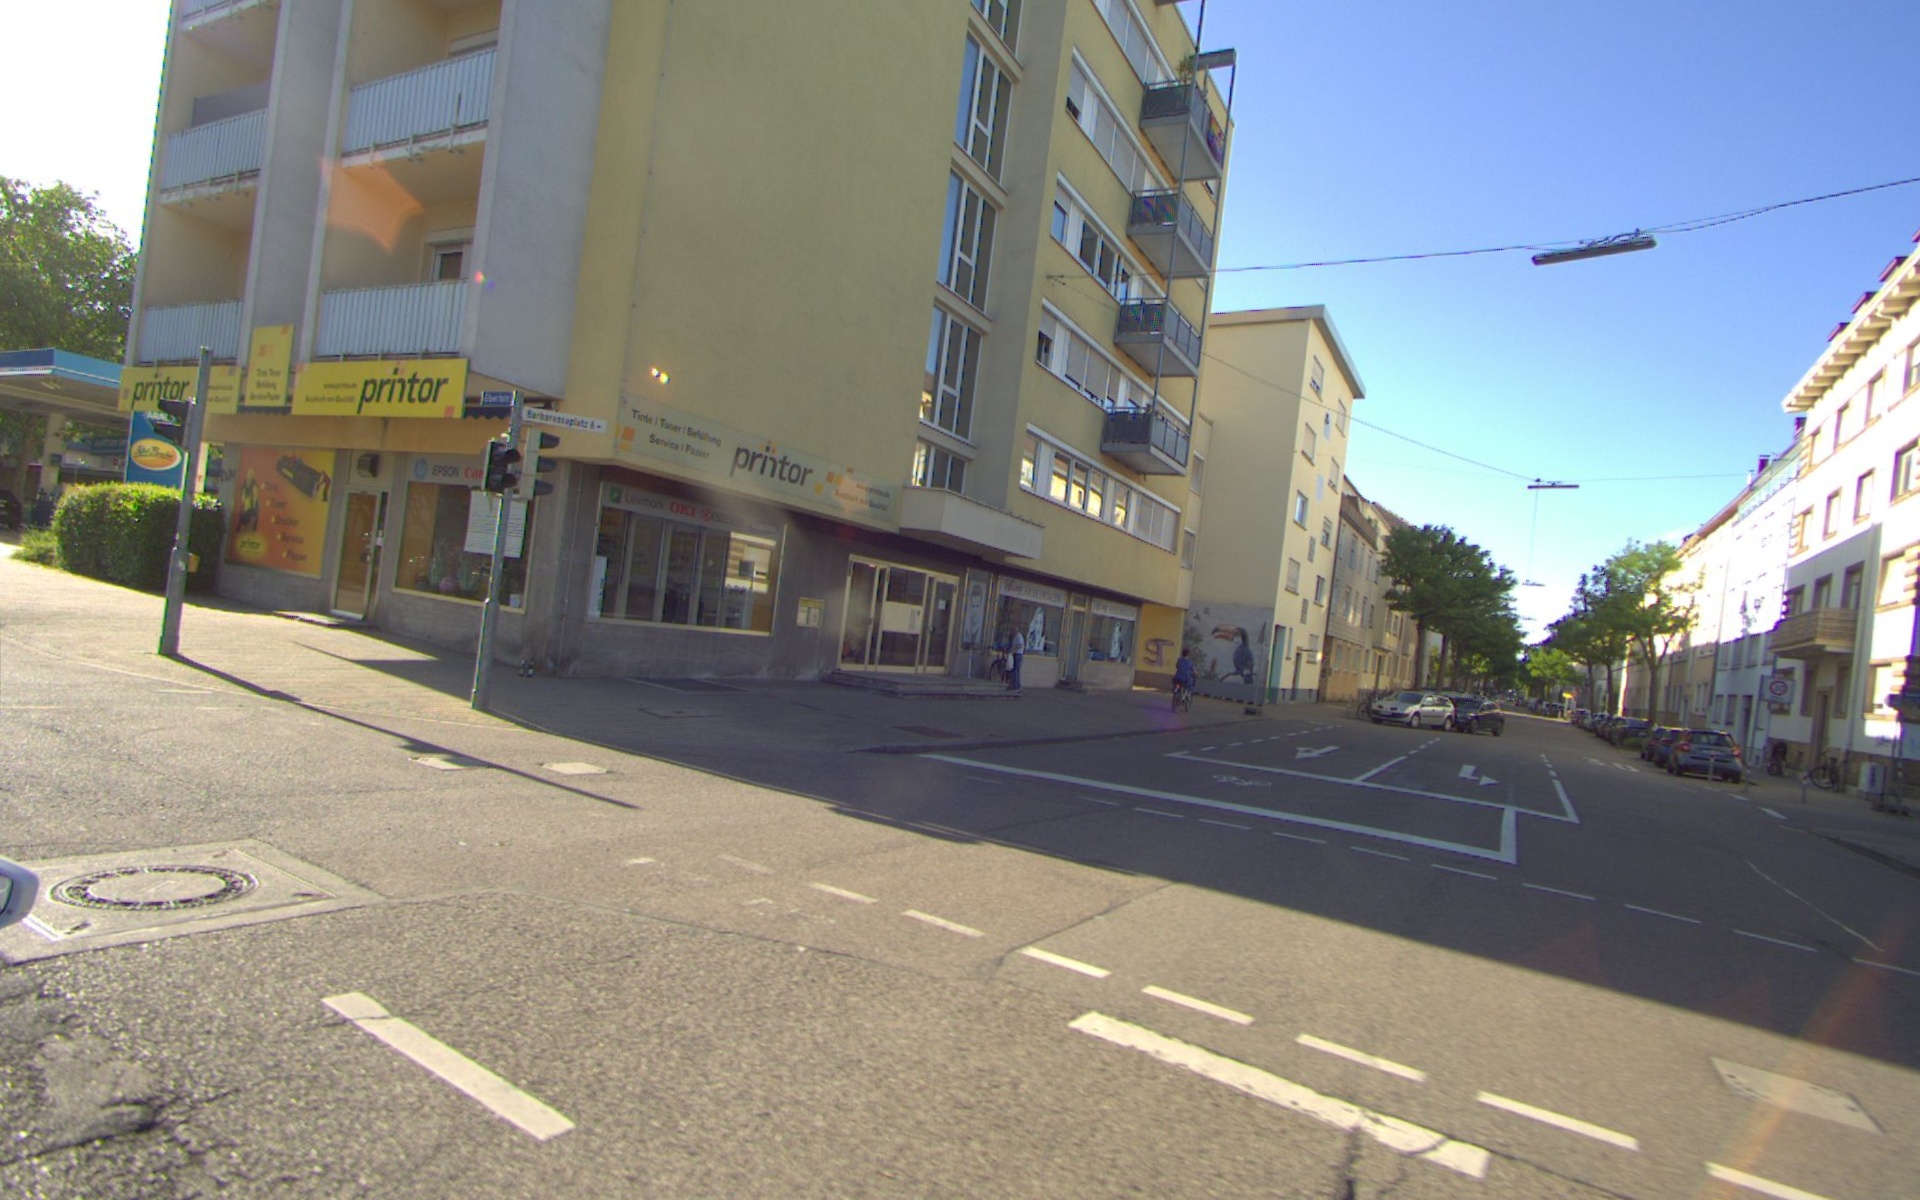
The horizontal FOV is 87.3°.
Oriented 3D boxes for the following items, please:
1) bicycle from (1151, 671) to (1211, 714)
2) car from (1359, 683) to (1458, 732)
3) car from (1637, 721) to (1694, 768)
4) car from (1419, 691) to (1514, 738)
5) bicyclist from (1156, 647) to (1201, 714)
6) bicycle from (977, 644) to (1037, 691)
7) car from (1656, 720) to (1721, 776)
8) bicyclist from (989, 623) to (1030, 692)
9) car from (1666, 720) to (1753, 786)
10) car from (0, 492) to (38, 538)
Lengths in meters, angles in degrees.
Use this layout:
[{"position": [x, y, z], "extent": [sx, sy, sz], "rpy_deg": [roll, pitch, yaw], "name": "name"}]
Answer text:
[{"position": [6.298, 2.652, 28.615], "extent": [0.833, 1.062, 2.268], "rpy_deg": [7, -2, 33], "name": "bicycle"}, {"position": [18.398, 4.432, 41.181], "extent": [4.136, 1.525, 1.899], "rpy_deg": [9, -2, -38], "name": "car"}, {"position": [28.330, 5.755, 40.403], "extent": [1.665, 1.510, 3.990], "rpy_deg": [7, -2, 36], "name": "car"}, {"position": [22.024, 4.990, 43.695], "extent": [4.189, 1.537, 1.979], "rpy_deg": [9, -2, -38], "name": "car"}, {"position": [6.158, 2.263, 28.299], "extent": [0.804, 1.736, 0.754], "rpy_deg": [8, 0, 33], "name": "bicyclist"}, {"position": [1.236, 1.764, 25.996], "extent": [0.631, 1.071, 2.087], "rpy_deg": [7, -2, 27], "name": "bicycle"}, {"position": [26.232, 5.287, 36.296], "extent": [1.665, 1.670, 3.990], "rpy_deg": [7, -2, 36], "name": "car"}, {"position": [1.277, 1.489, 26.009], "extent": [0.628, 1.699, 0.684], "rpy_deg": [7, 0, 28], "name": "bicyclist"}, {"position": [23.880, 4.824, 32.174], "extent": [1.969, 1.670, 3.990], "rpy_deg": [7, -2, 36], "name": "car"}, {"position": [-35.716, -3.282, 36.631], "extent": [3.934, 1.480, 1.725], "rpy_deg": [7, -1, 26], "name": "car"}]
